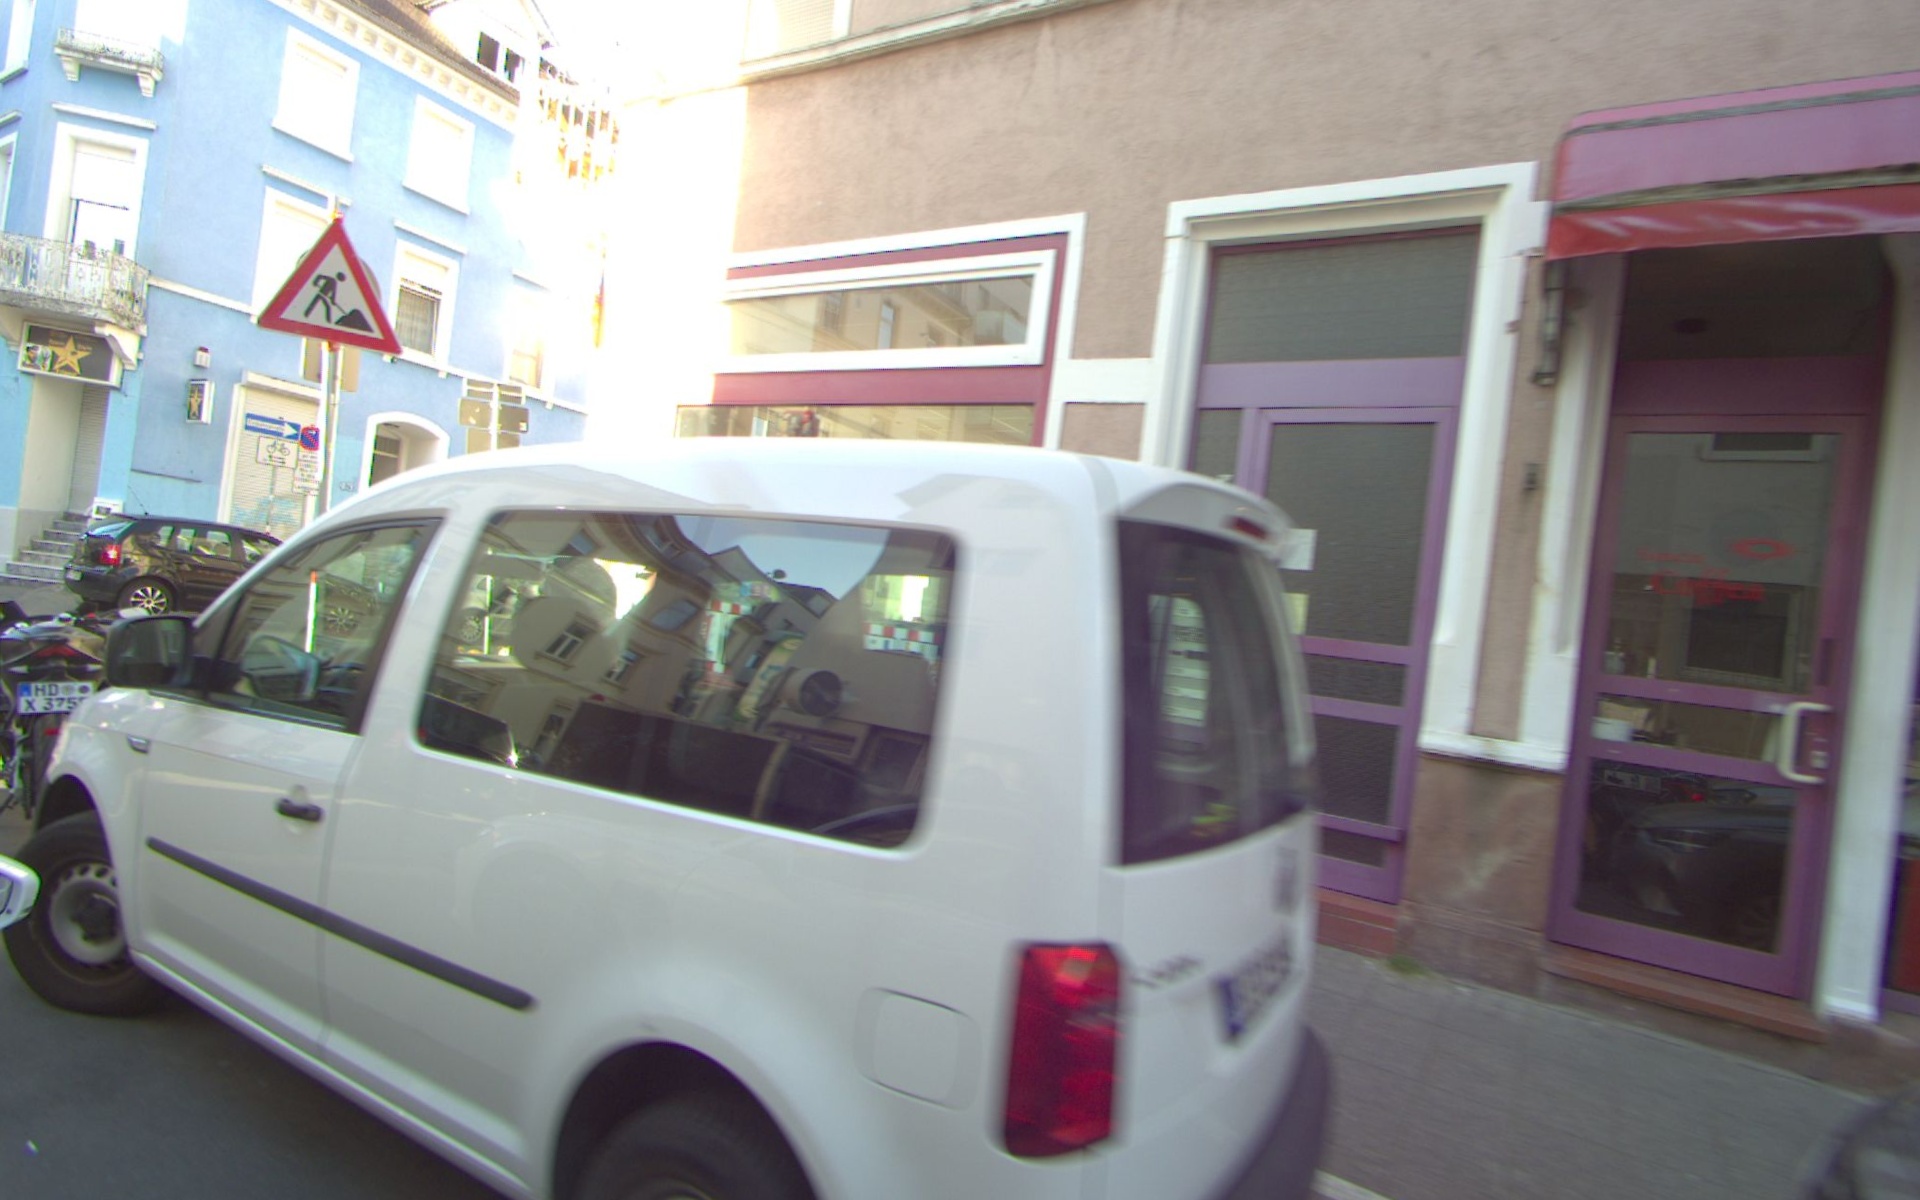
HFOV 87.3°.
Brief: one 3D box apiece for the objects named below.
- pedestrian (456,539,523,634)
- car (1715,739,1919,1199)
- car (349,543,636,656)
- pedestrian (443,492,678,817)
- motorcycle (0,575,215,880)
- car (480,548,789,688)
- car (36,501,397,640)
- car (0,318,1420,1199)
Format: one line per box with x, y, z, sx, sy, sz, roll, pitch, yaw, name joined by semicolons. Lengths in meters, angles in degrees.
-9.977;-0.287;21.333;0.767;1.870;0.771;7;-2;31;pedestrian
3.046;1.164;0.701;3.817;1.426;1.610;6;0;32;car
-8.509;0.063;18.729;1.728;1.451;4.476;9;-1;34;car
-2.494;0.303;6.299;0.974;1.816;0.826;7;2;32;pedestrian
-4.272;0.513;4.753;1.970;1.097;0.718;6;-5;43;motorcycle
-4.691;0.352;15.083;1.826;1.651;4.066;4;-3;32;car
-10.822;-0.353;14.935;1.649;1.470;3.874;7;-2;32;car
-1.162;0.462;3.019;4.297;1.839;1.750;6;0;32;car
